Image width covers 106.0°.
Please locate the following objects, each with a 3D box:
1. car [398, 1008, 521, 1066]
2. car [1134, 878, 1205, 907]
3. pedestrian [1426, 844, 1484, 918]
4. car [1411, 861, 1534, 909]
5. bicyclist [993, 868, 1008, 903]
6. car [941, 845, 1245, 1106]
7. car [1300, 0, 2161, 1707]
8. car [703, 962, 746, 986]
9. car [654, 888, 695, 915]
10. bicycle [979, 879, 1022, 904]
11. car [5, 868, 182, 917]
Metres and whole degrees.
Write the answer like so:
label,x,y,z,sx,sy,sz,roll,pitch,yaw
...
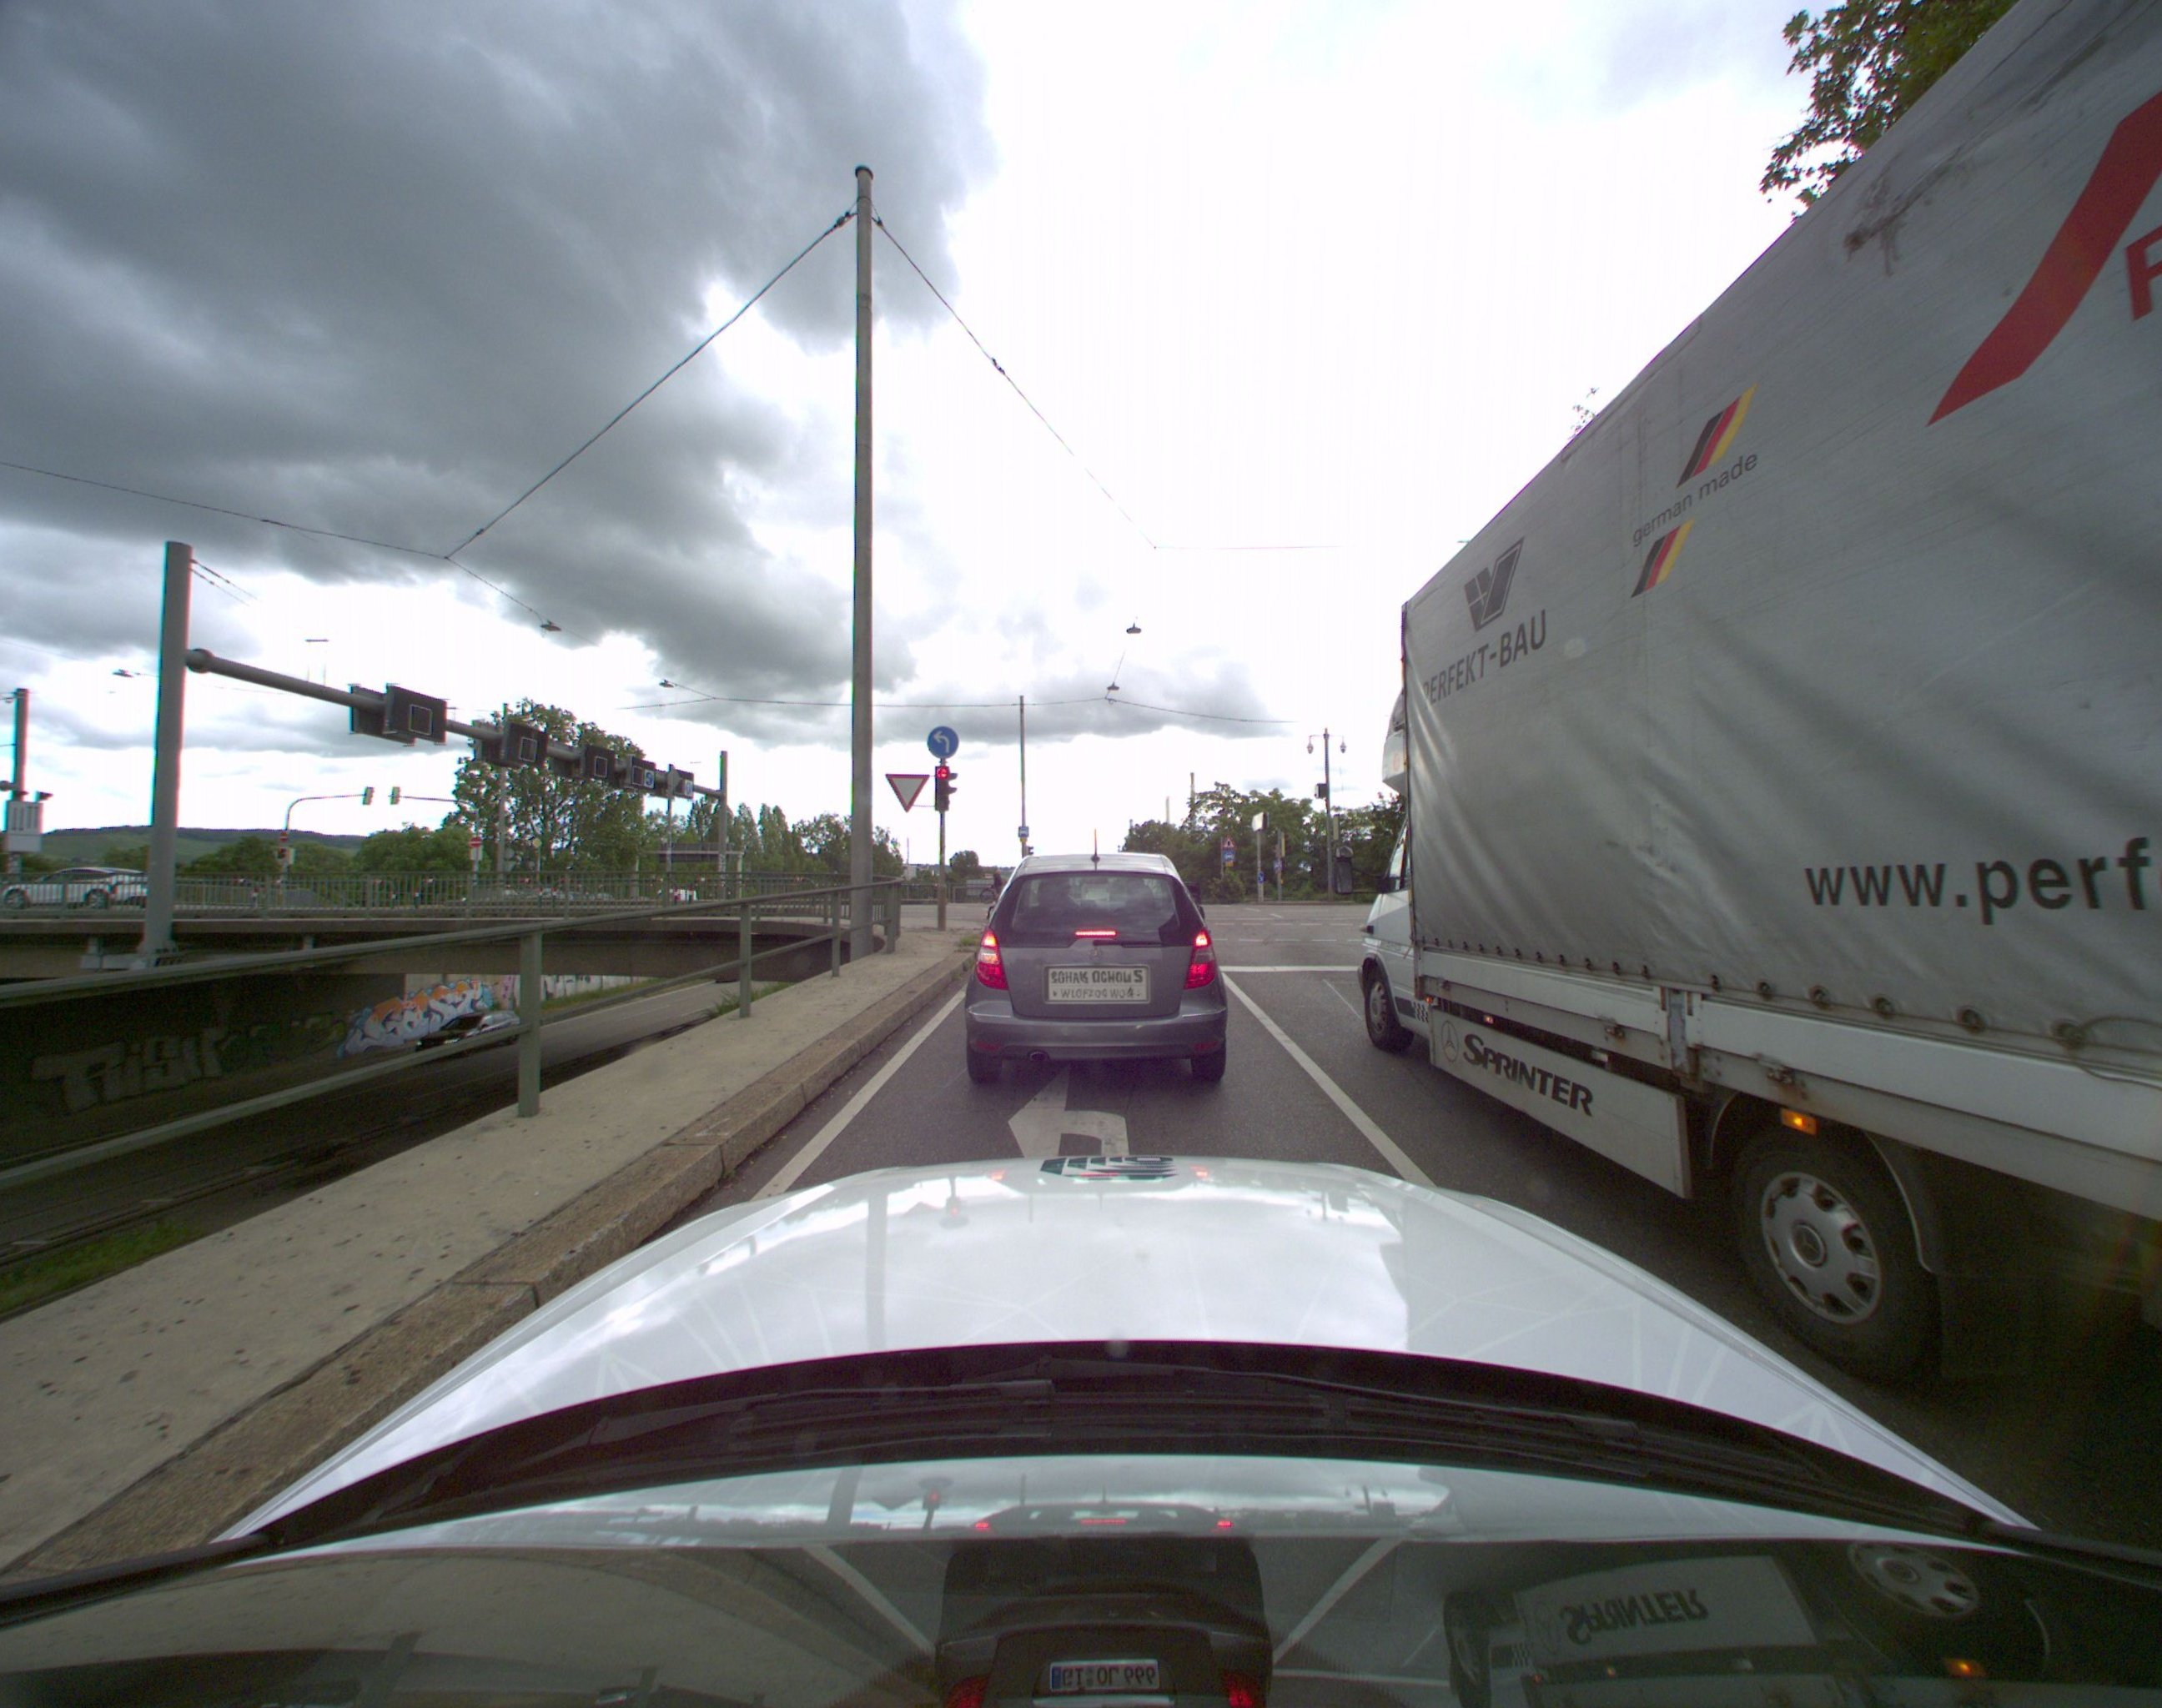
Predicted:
label,x,y,z,sx,sy,sz,roll,pitch,yaw
car,-28.414,8.323,37.460,1.986,1.751,4.591,-1,-2,2
car,5.930,2.563,55.272,2.012,1.771,5.188,-1,0,-31
pedestrian,8.757,0.644,19.128,0.830,1.678,0.978,-1,-3,-1
car,14.687,1.136,30.595,3.948,1.665,1.824,-1,0,32
bicyclist,-3.982,1.544,40.284,0.653,1.673,0.867,-1,0,-9
car,0.208,0.735,7.013,1.849,1.588,4.005,-1,1,4
car,3.228,-0.137,3.899,2.648,3.329,7.094,-1,-1,2
car,-29.183,9.793,66.737,1.676,1.457,3.922,-1,-2,2
car,-36.333,4.214,72.871,1.850,2.215,3.660,-1,0,-3
bicycle,-3.988,1.830,40.270,2.032,1.124,0.926,-1,0,-10
car,-38.409,1.485,31.772,4.379,1.717,1.936,-1,0,-2
